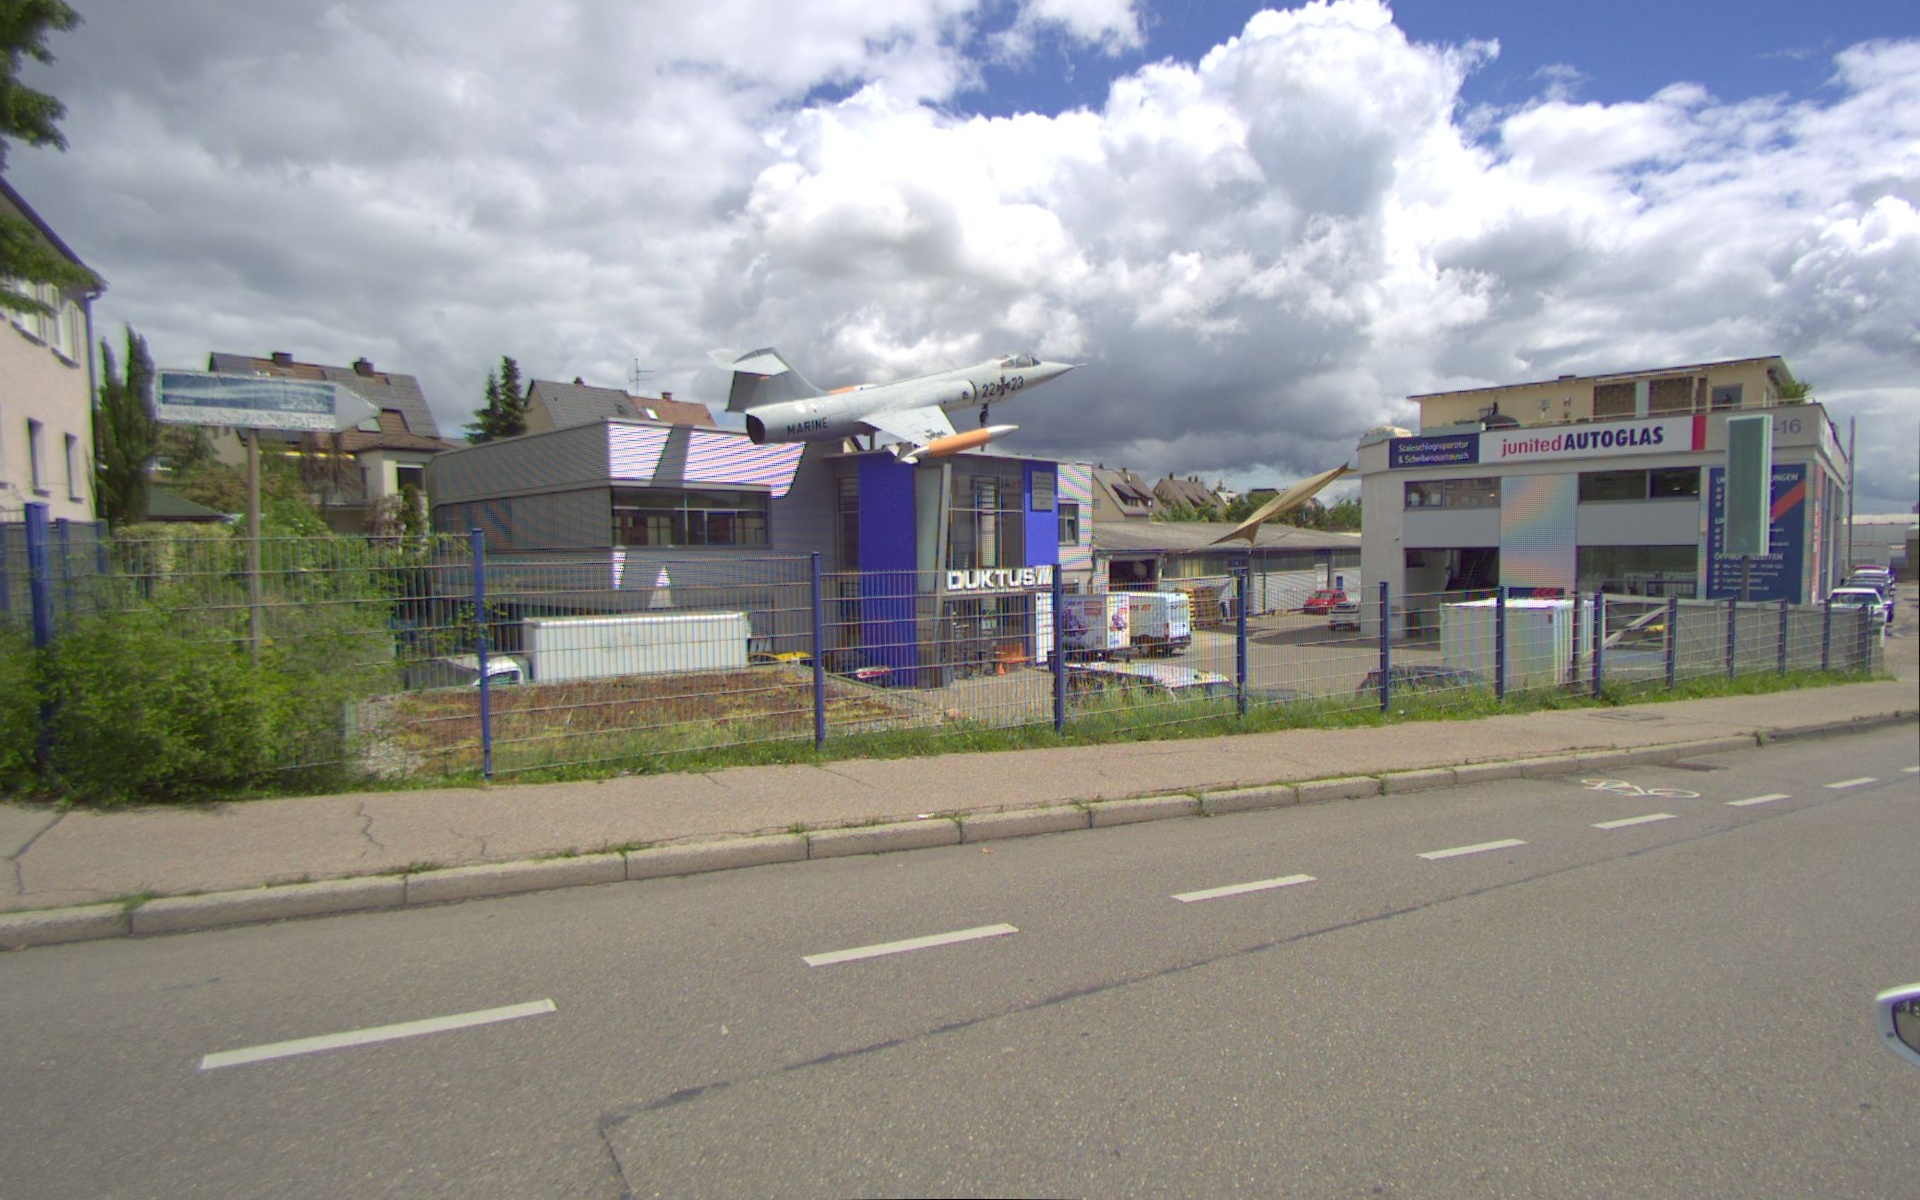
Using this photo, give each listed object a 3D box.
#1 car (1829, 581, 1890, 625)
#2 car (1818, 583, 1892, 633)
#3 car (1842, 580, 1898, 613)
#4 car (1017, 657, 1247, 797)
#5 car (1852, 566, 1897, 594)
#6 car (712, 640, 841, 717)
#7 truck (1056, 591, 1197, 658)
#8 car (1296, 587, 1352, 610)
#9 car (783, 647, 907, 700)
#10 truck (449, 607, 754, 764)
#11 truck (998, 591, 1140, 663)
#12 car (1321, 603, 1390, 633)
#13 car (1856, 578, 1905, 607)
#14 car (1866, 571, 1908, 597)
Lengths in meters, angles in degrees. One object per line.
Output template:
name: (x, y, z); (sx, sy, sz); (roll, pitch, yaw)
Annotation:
car: (35.454, 0.127, 39.564); (1.678, 1.651, 3.695); (0, -1, 44)
car: (32.005, 0.289, 35.895); (1.828, 1.672, 3.975); (0, -1, 44)
car: (39.918, -0.124, 44.034); (1.703, 1.341, 3.695); (0, -1, 44)
car: (3.025, 2.165, 18.413); (1.979, 2.040, 3.962); (1, 0, -34)
car: (48.610, -1.044, 53.383); (1.653, 1.341, 3.695); (0, -1, 44)
car: (-5.533, 2.271, 30.041); (3.945, 1.551, 1.865); (6, 9, 45)
truck: (6.956, 0.987, 42.453); (2.192, 2.609, 5.724); (1, -1, -44)
car: (22.945, -0.070, 63.256); (1.971, 1.372, 3.978); (2, 1, 42)
car: (-3.682, 2.264, 31.767); (3.946, 1.316, 1.865); (0, 2, 45)
truck: (-7.643, 1.662, 21.560); (5.813, 2.912, 2.445); (1, 1, -30)
truck: (4.355, 1.052, 41.041); (2.163, 2.742, 5.724); (1, -1, -44)
car: (20.020, 0.887, 50.751); (1.971, 1.372, 3.978); (2, 1, 42)
car: (44.191, -0.332, 48.200); (1.653, 1.341, 3.695); (0, -1, 44)
car: (52.429, -0.867, 56.805); (1.653, 1.341, 3.695); (0, -1, 44)
